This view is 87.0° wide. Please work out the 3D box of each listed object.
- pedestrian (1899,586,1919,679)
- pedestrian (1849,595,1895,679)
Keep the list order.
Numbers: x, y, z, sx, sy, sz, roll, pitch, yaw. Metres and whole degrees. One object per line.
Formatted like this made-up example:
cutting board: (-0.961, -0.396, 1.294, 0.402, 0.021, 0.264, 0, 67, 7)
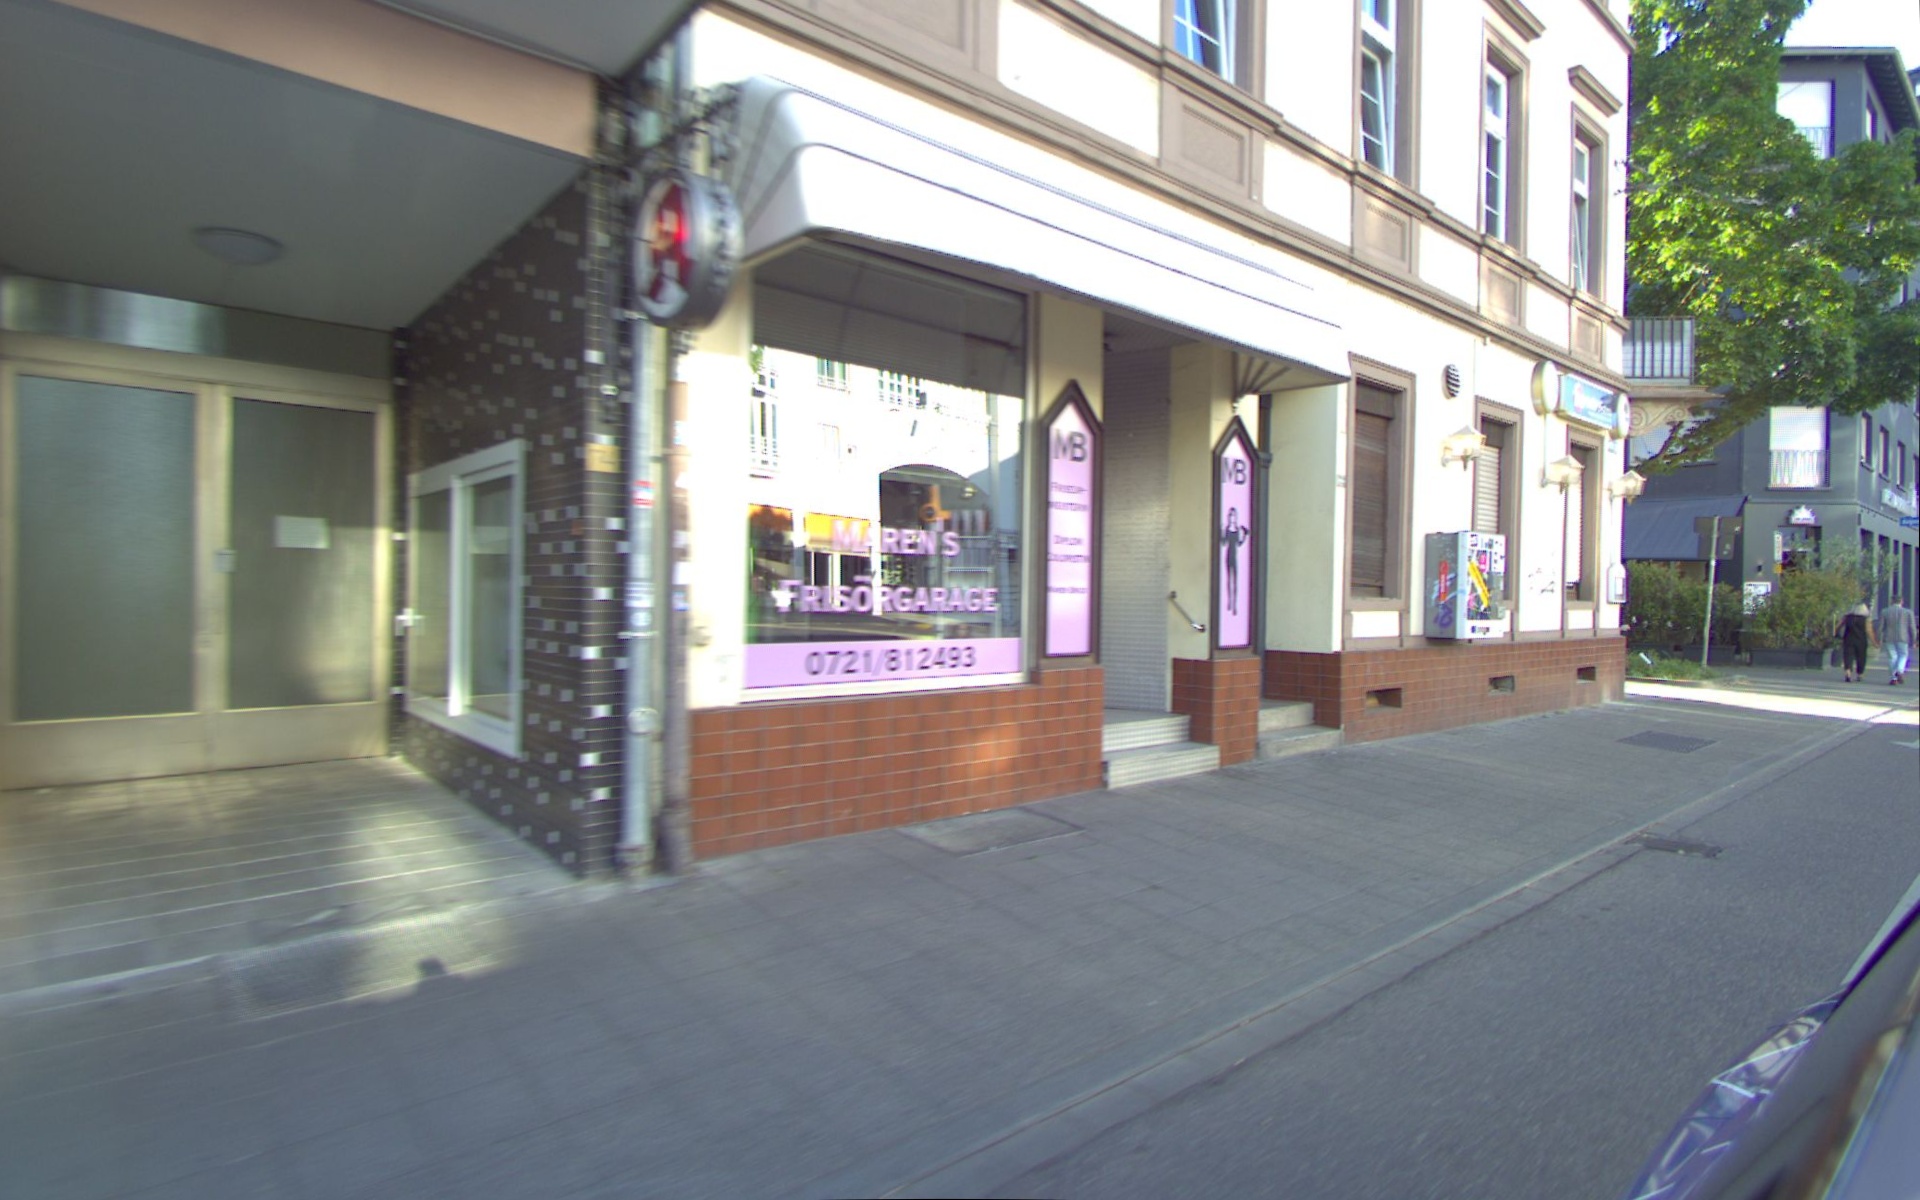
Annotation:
pedestrian: (18.396, 0.613, 19.335, 0.649, 1.737, 0.793, 1, 0, 43)
pedestrian: (17.842, 0.697, 19.806, 0.649, 1.598, 0.672, 1, 0, 43)
